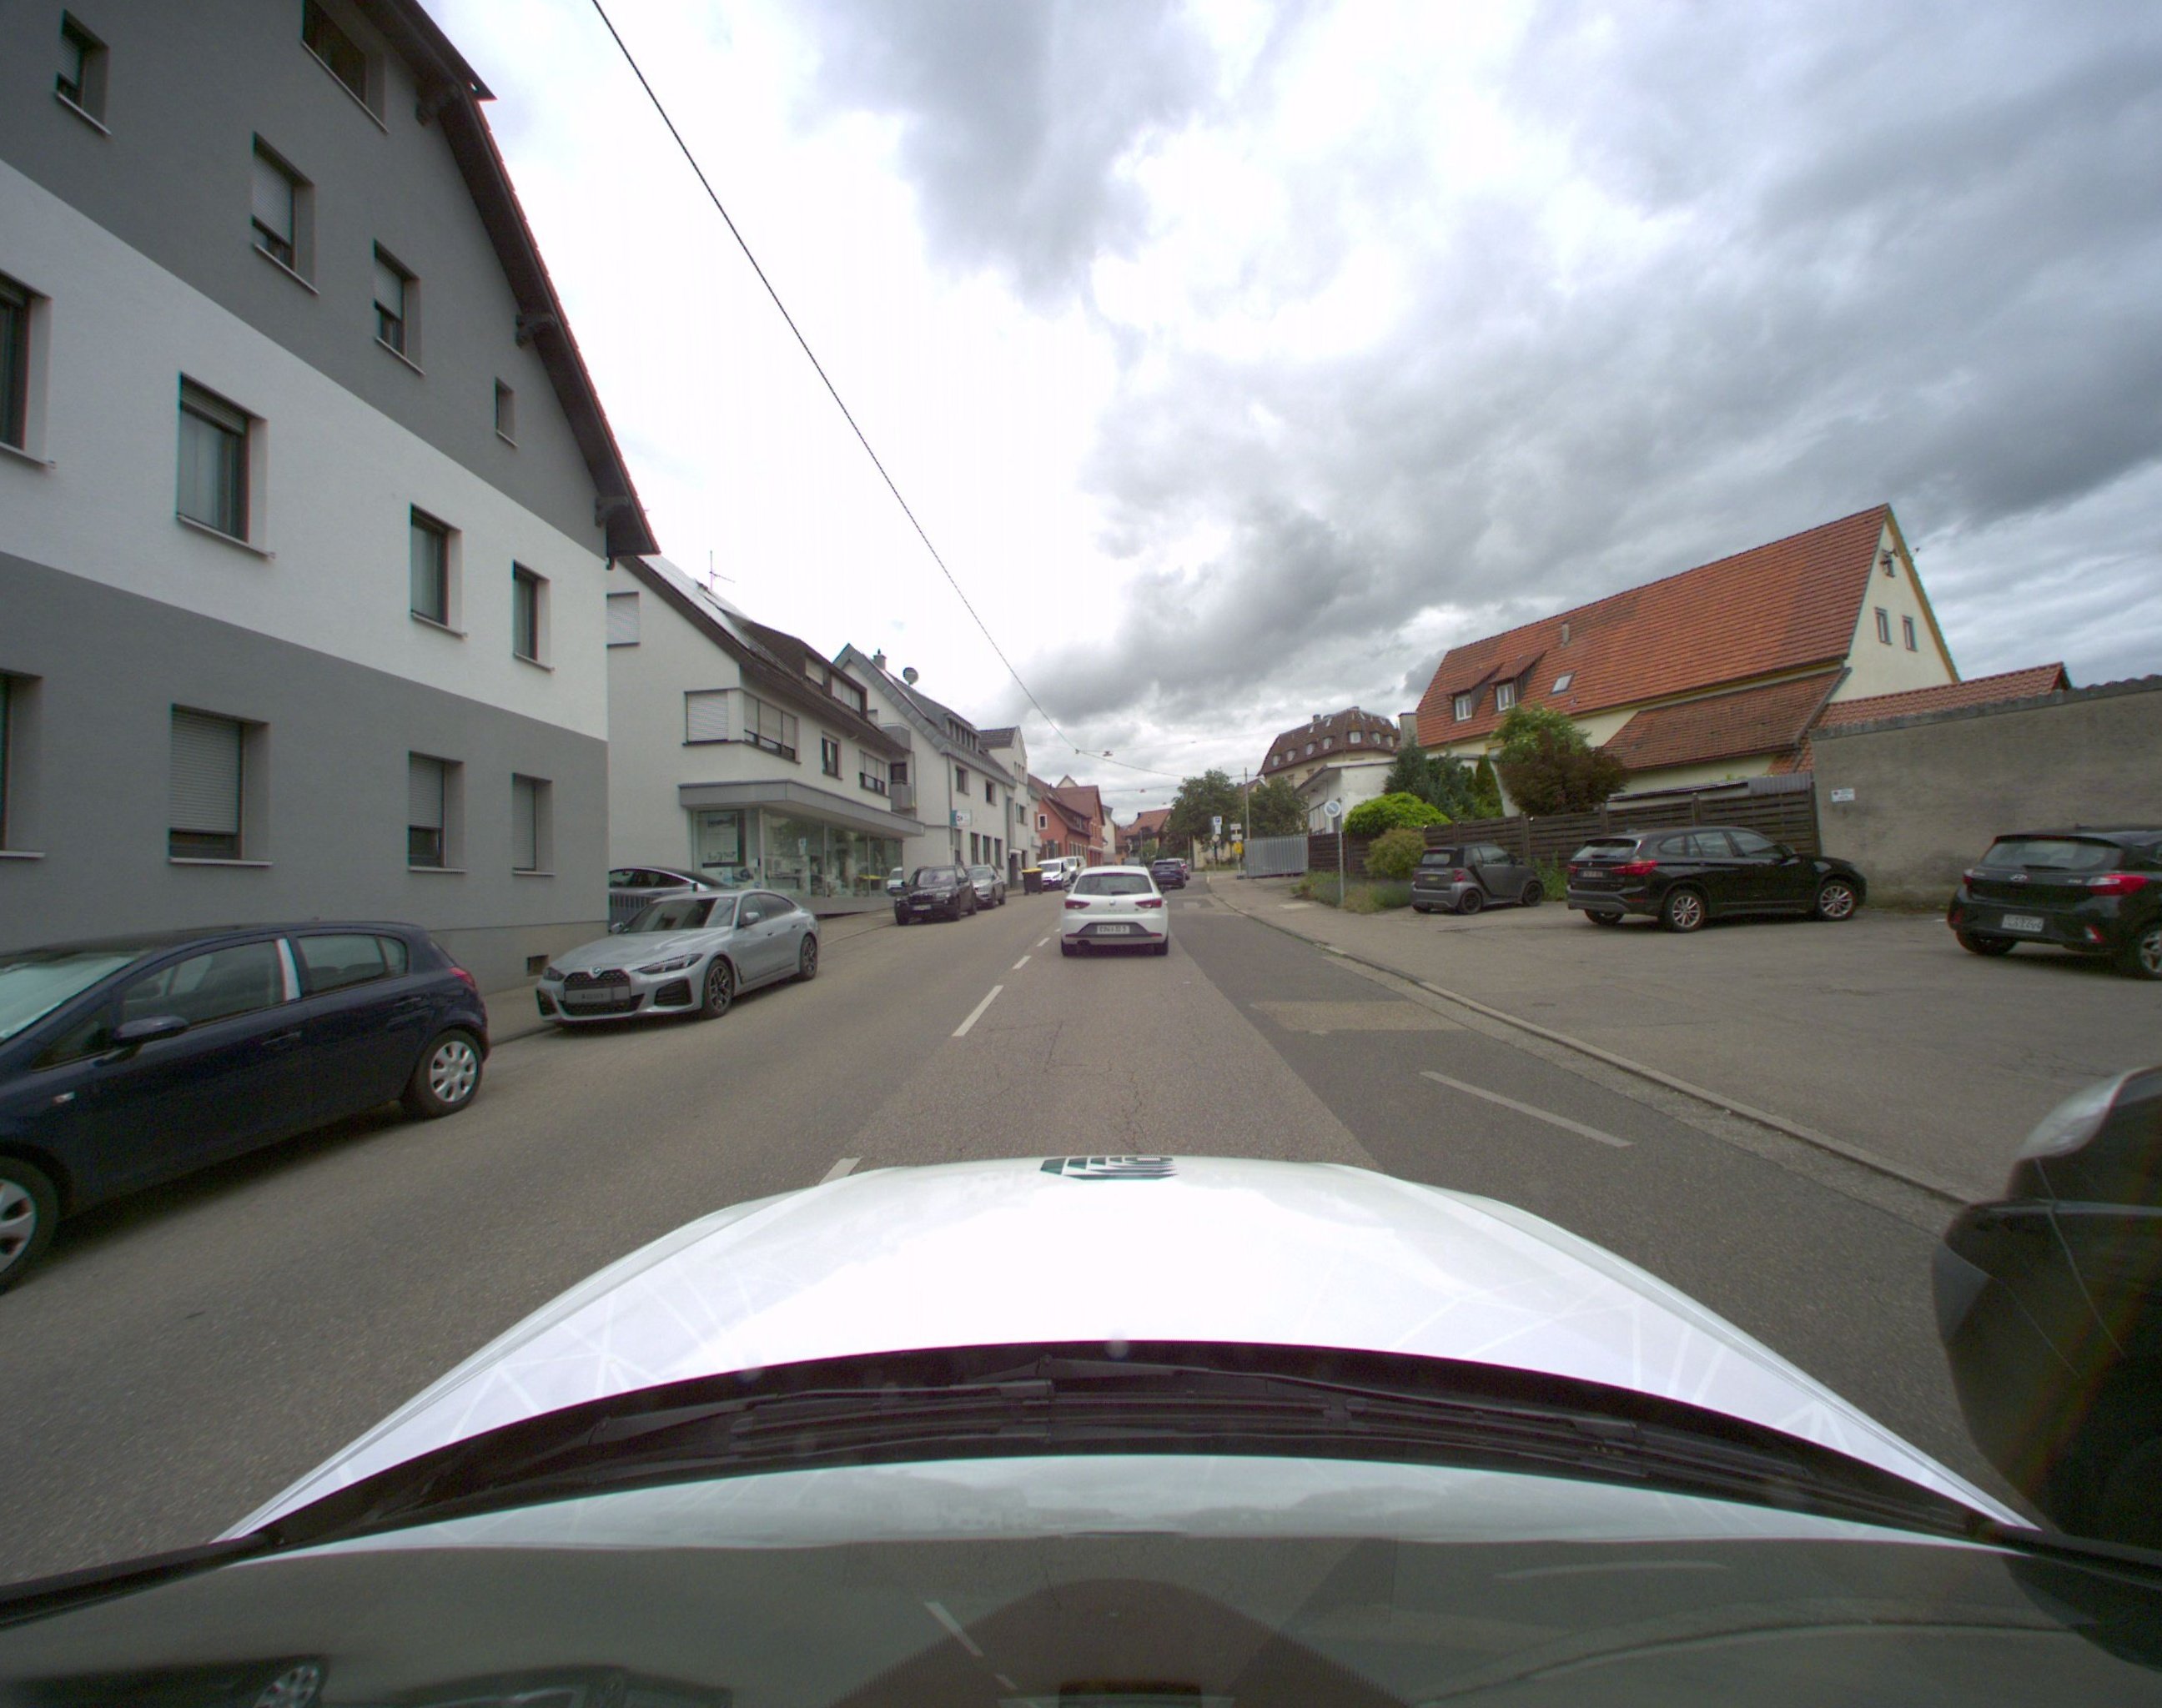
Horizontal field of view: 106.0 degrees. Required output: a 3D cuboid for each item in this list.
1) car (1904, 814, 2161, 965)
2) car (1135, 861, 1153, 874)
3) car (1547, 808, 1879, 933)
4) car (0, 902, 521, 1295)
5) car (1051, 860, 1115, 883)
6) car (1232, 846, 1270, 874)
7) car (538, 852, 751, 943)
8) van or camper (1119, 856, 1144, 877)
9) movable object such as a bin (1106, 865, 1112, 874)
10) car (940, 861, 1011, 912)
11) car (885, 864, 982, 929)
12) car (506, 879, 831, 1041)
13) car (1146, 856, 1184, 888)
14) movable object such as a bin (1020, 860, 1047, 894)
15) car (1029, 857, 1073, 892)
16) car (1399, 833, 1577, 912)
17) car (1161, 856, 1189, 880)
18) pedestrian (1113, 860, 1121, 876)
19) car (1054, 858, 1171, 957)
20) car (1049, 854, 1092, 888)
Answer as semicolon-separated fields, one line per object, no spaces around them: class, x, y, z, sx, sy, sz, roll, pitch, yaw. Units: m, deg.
car;11.565;0.348;8.948;3.302;1.487;1.726;0;0;1
car;8.321;1.822;107.494;1.991;1.633;4.857;-2;-2;1
car;10.212;0.236;13.339;4.108;1.654;1.900;-3;0;-7
car;-5.365;1.152;4.397;1.832;1.445;3.998;-4;-1;-1
car;0.178;1.365;63.069;4.523;1.445;2.006;-5;-1;11
car;11.814;0.423;56.843;1.739;1.739;4.574;-4;-1;2
car;-10.425;1.016;19.658;3.970;1.856;2.002;-3;-1;3
van or camper;5.439;1.377;87.019;2.062;2.006;4.868;-5;-3;8
movable object such as a bin;3.341;1.816;96.372;0.662;1.018;0.796;-3;-1;5
car;-3.848;1.142;30.468;1.830;1.633;4.410;-4;-1;2
car;-4.311;1.194;24.506;1.830;1.633;4.410;-4;-1;2
car;-4.996;1.180;10.734;1.831;1.445;4.468;-4;-1;1
car;4.199;0.887;40.552;1.749;1.452;4.007;-2;-1;7
movable object such as a bin;-2.444;1.190;42.052;1.135;1.633;1.564;-4;-1;2
car;-1.699;1.157;47.992;1.723;1.832;4.307;-5;-1;8
car;9.176;0.390;18.431;3.322;1.519;1.693;-3;0;-18
car;6.265;0.965;54.124;1.749;1.452;4.007;-2;-2;6
pedestrian;4.128;1.572;93.239;0.796;1.785;0.895;-2;-1;8
car;0.676;0.853;14.493;1.750;1.452;4.006;-2;-1;6
car;-0.622;1.086;53.618;1.801;2.006;4.777;-5;-1;11
